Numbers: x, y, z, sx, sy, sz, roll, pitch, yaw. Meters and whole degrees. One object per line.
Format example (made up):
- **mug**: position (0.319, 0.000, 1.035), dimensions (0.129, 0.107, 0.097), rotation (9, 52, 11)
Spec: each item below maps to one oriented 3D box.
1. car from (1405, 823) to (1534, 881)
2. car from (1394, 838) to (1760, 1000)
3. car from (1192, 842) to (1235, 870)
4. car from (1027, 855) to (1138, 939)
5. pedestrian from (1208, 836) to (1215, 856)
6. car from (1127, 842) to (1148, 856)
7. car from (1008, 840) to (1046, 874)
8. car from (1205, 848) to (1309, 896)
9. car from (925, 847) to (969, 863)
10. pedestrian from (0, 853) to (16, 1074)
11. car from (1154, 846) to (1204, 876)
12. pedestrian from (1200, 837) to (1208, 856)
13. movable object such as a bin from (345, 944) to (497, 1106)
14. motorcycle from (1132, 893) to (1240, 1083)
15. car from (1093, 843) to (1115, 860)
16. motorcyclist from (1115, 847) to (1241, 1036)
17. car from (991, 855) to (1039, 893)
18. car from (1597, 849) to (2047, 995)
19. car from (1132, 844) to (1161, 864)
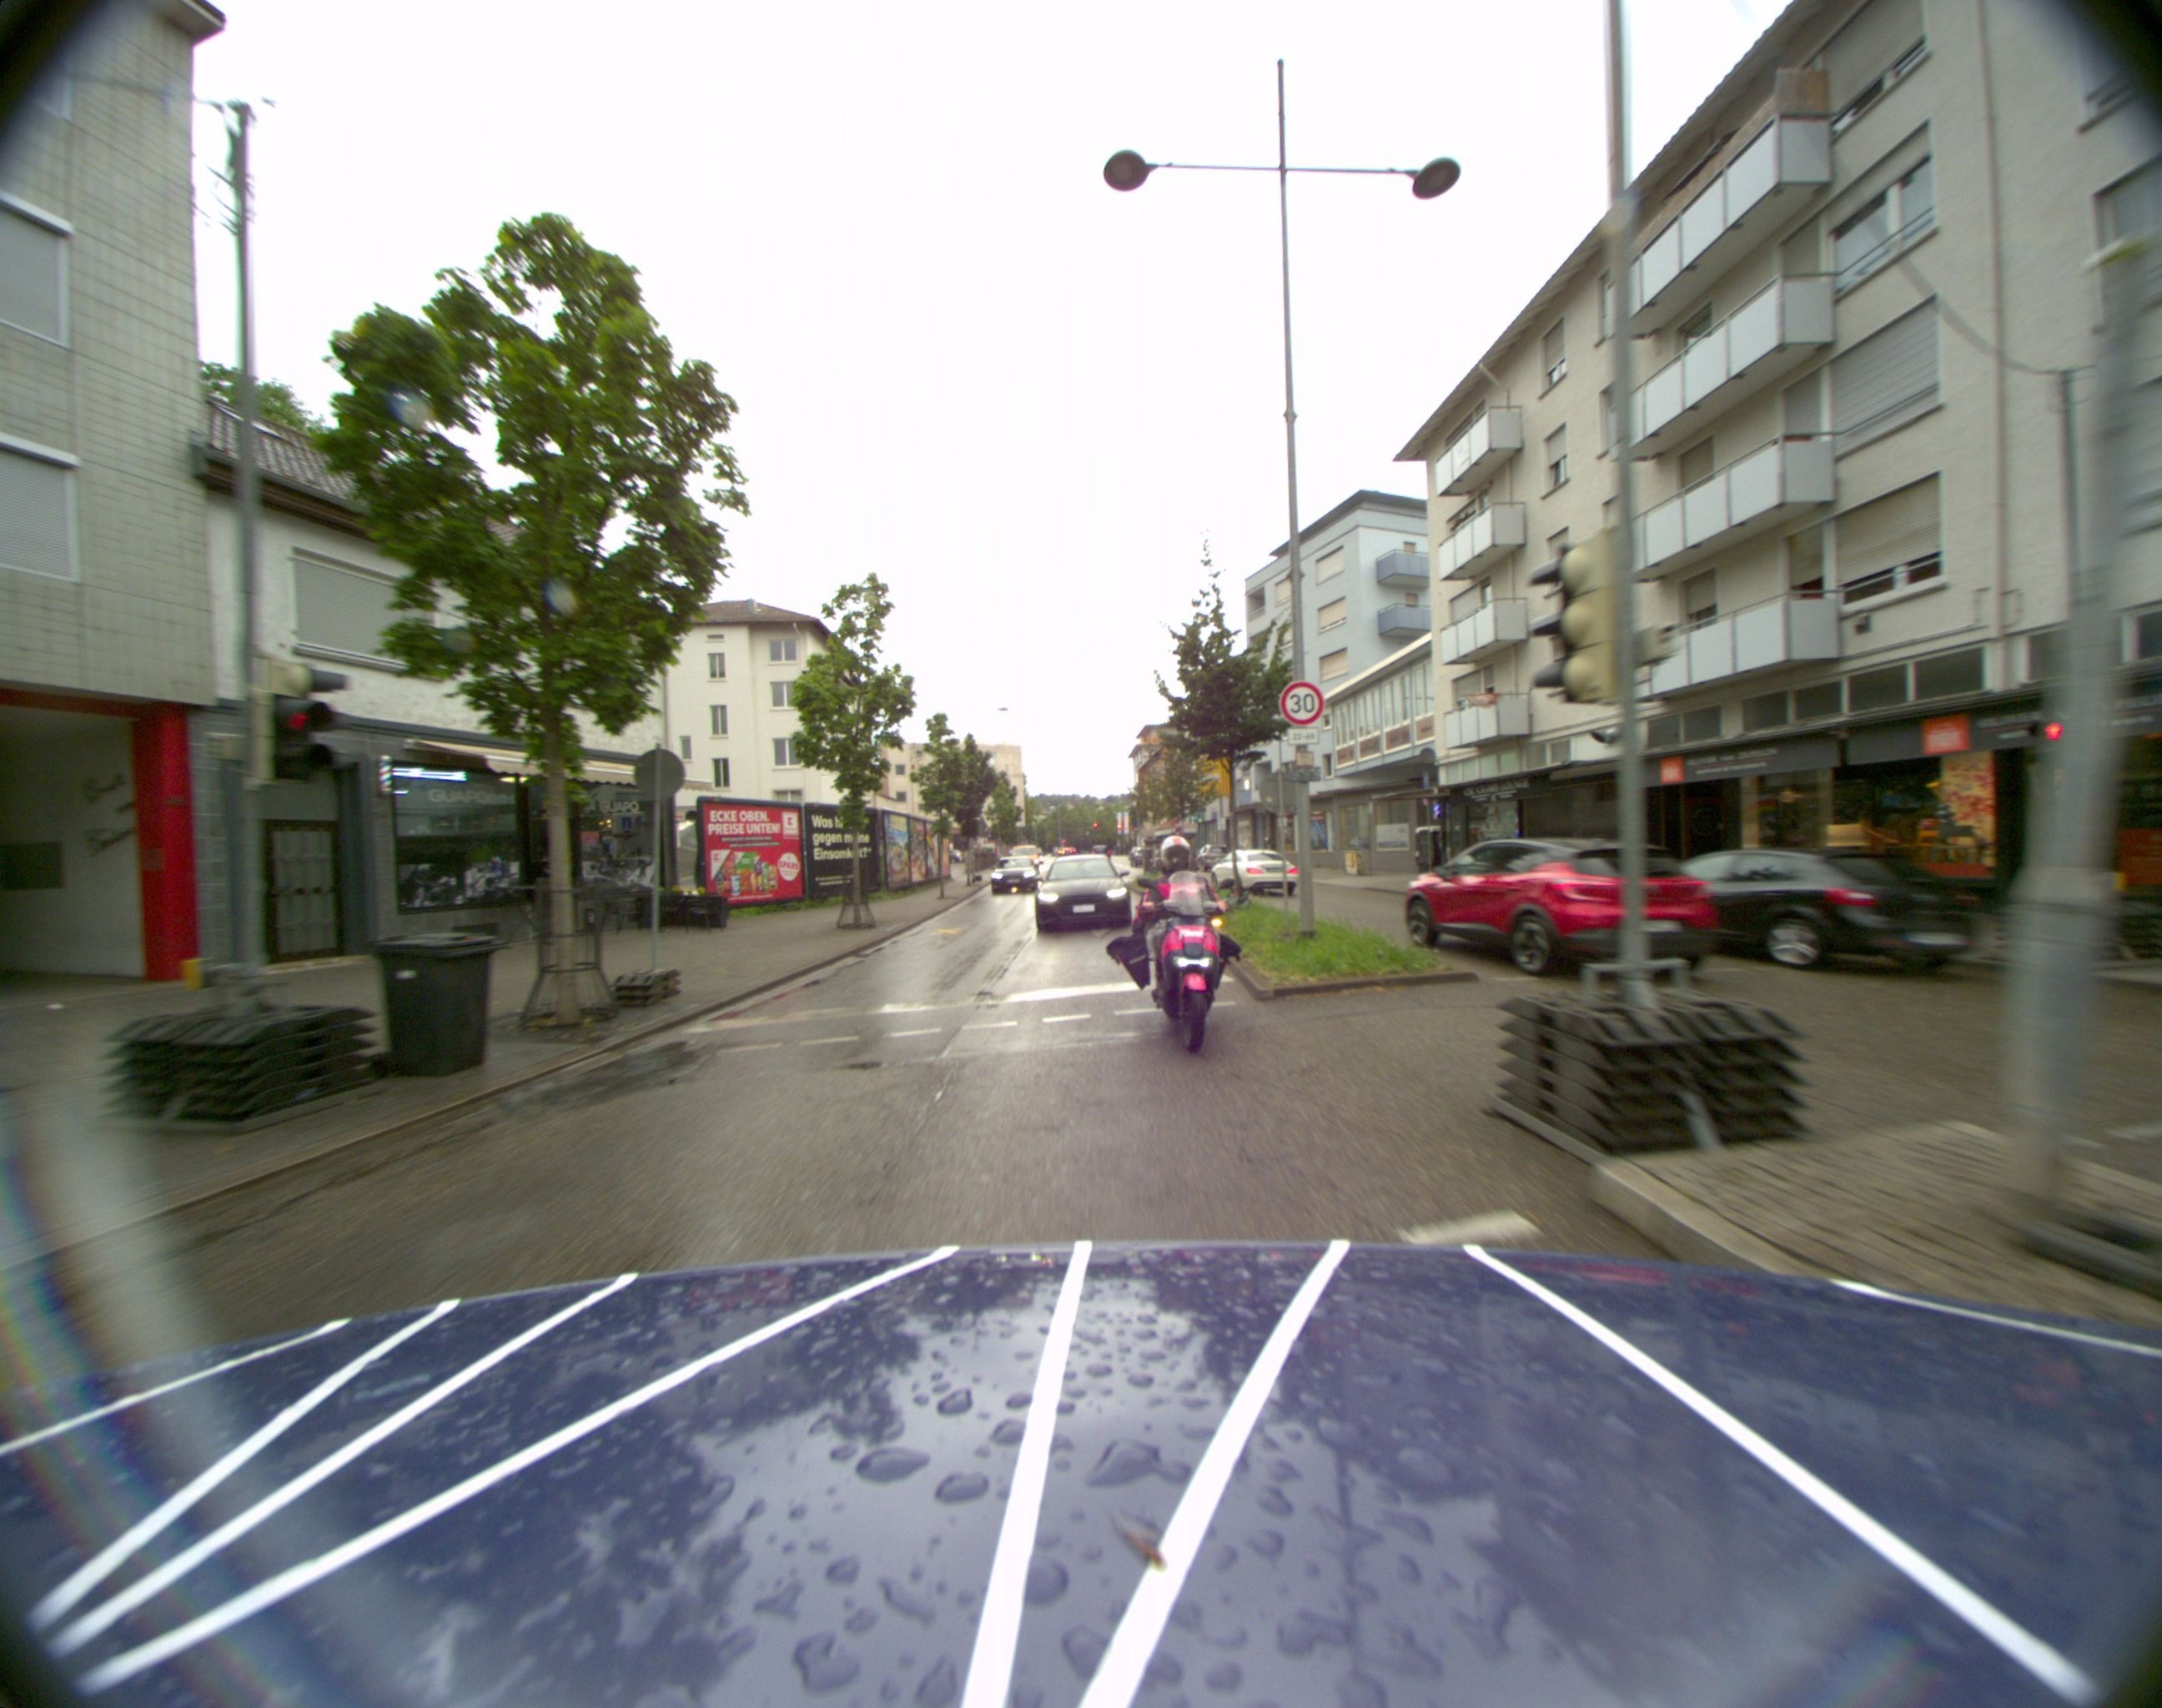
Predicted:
- **car**: position (14.896, -0.087, 29.273), dimensions (3.997, 2.043, 1.894), rotation (-1, 1, 0)
- **car**: position (5.787, 0.623, 9.604), dimensions (1.852, 1.585, 4.089), rotation (-1, 1, -2)
- **car**: position (8.063, 0.109, 46.413), dimensions (1.777, 1.580, 4.025), rotation (0, 0, -2)
- **car**: position (0.009, 0.837, 17.349), dimensions (2.040, 1.379, 5.292), rotation (-5, 1, 0)
- **pedestrian**: position (11.195, -0.672, 65.305), dimensions (0.513, 1.679, 0.531), rotation (0, 3, -1)
- **car**: position (6.320, -0.564, 85.588), dimensions (1.852, 1.473, 4.200), rotation (0, 1, -2)
- **car**: position (-3.660, 0.152, 52.536), dimensions (2.198, 2.074, 5.931), rotation (-2, 2, 0)
- **car**: position (5.660, 0.534, 25.101), dimensions (1.851, 1.409, 4.612), rotation (1, 0, -7)
- **car**: position (-14.415, 0.064, 81.878), dimensions (4.252, 1.566, 1.941), rotation (-1, -2, -38)
- **pedestrian**: position (-9.332, 0.888, 6.010), dimensions (0.968, 1.782, 0.908), rotation (2, 3, 30)
- **car**: position (4.772, 0.318, 37.521), dimensions (1.822, 1.433, 4.156), rotation (0, 0, -2)
- **pedestrian**: position (10.565, -0.657, 65.291), dimensions (0.527, 1.679, 0.531), rotation (0, 3, -1)
- **movable object such as a bin**: position (-5.083, 1.289, 5.891), dimensions (0.579, 1.104, 0.666), rotation (0, 0, 5)
- **motorcycle**: position (0.835, 1.031, 6.567), dimensions (0.588, 1.184, 2.101), rotation (-3, 2, 0)
- **car**: position (2.159, -0.242, 72.533), dimensions (1.777, 1.634, 3.839), rotation (0, 0, -2)
- **motorcyclist**: position (0.814, 0.706, 6.608), dimensions (0.917, 1.485, 0.864), rotation (-3, 2, -1)
- **car**: position (-2.794, 0.810, 32.394), dimensions (1.812, 1.332, 4.275), rotation (-4, 1, -4)
- **car**: position (9.009, 0.694, 9.843), dimensions (1.852, 1.488, 3.999), rotation (0, 1, -1)
- **car**: position (4.827, 0.013, 56.474), dimensions (1.703, 1.433, 3.839), rotation (0, 0, -2)
